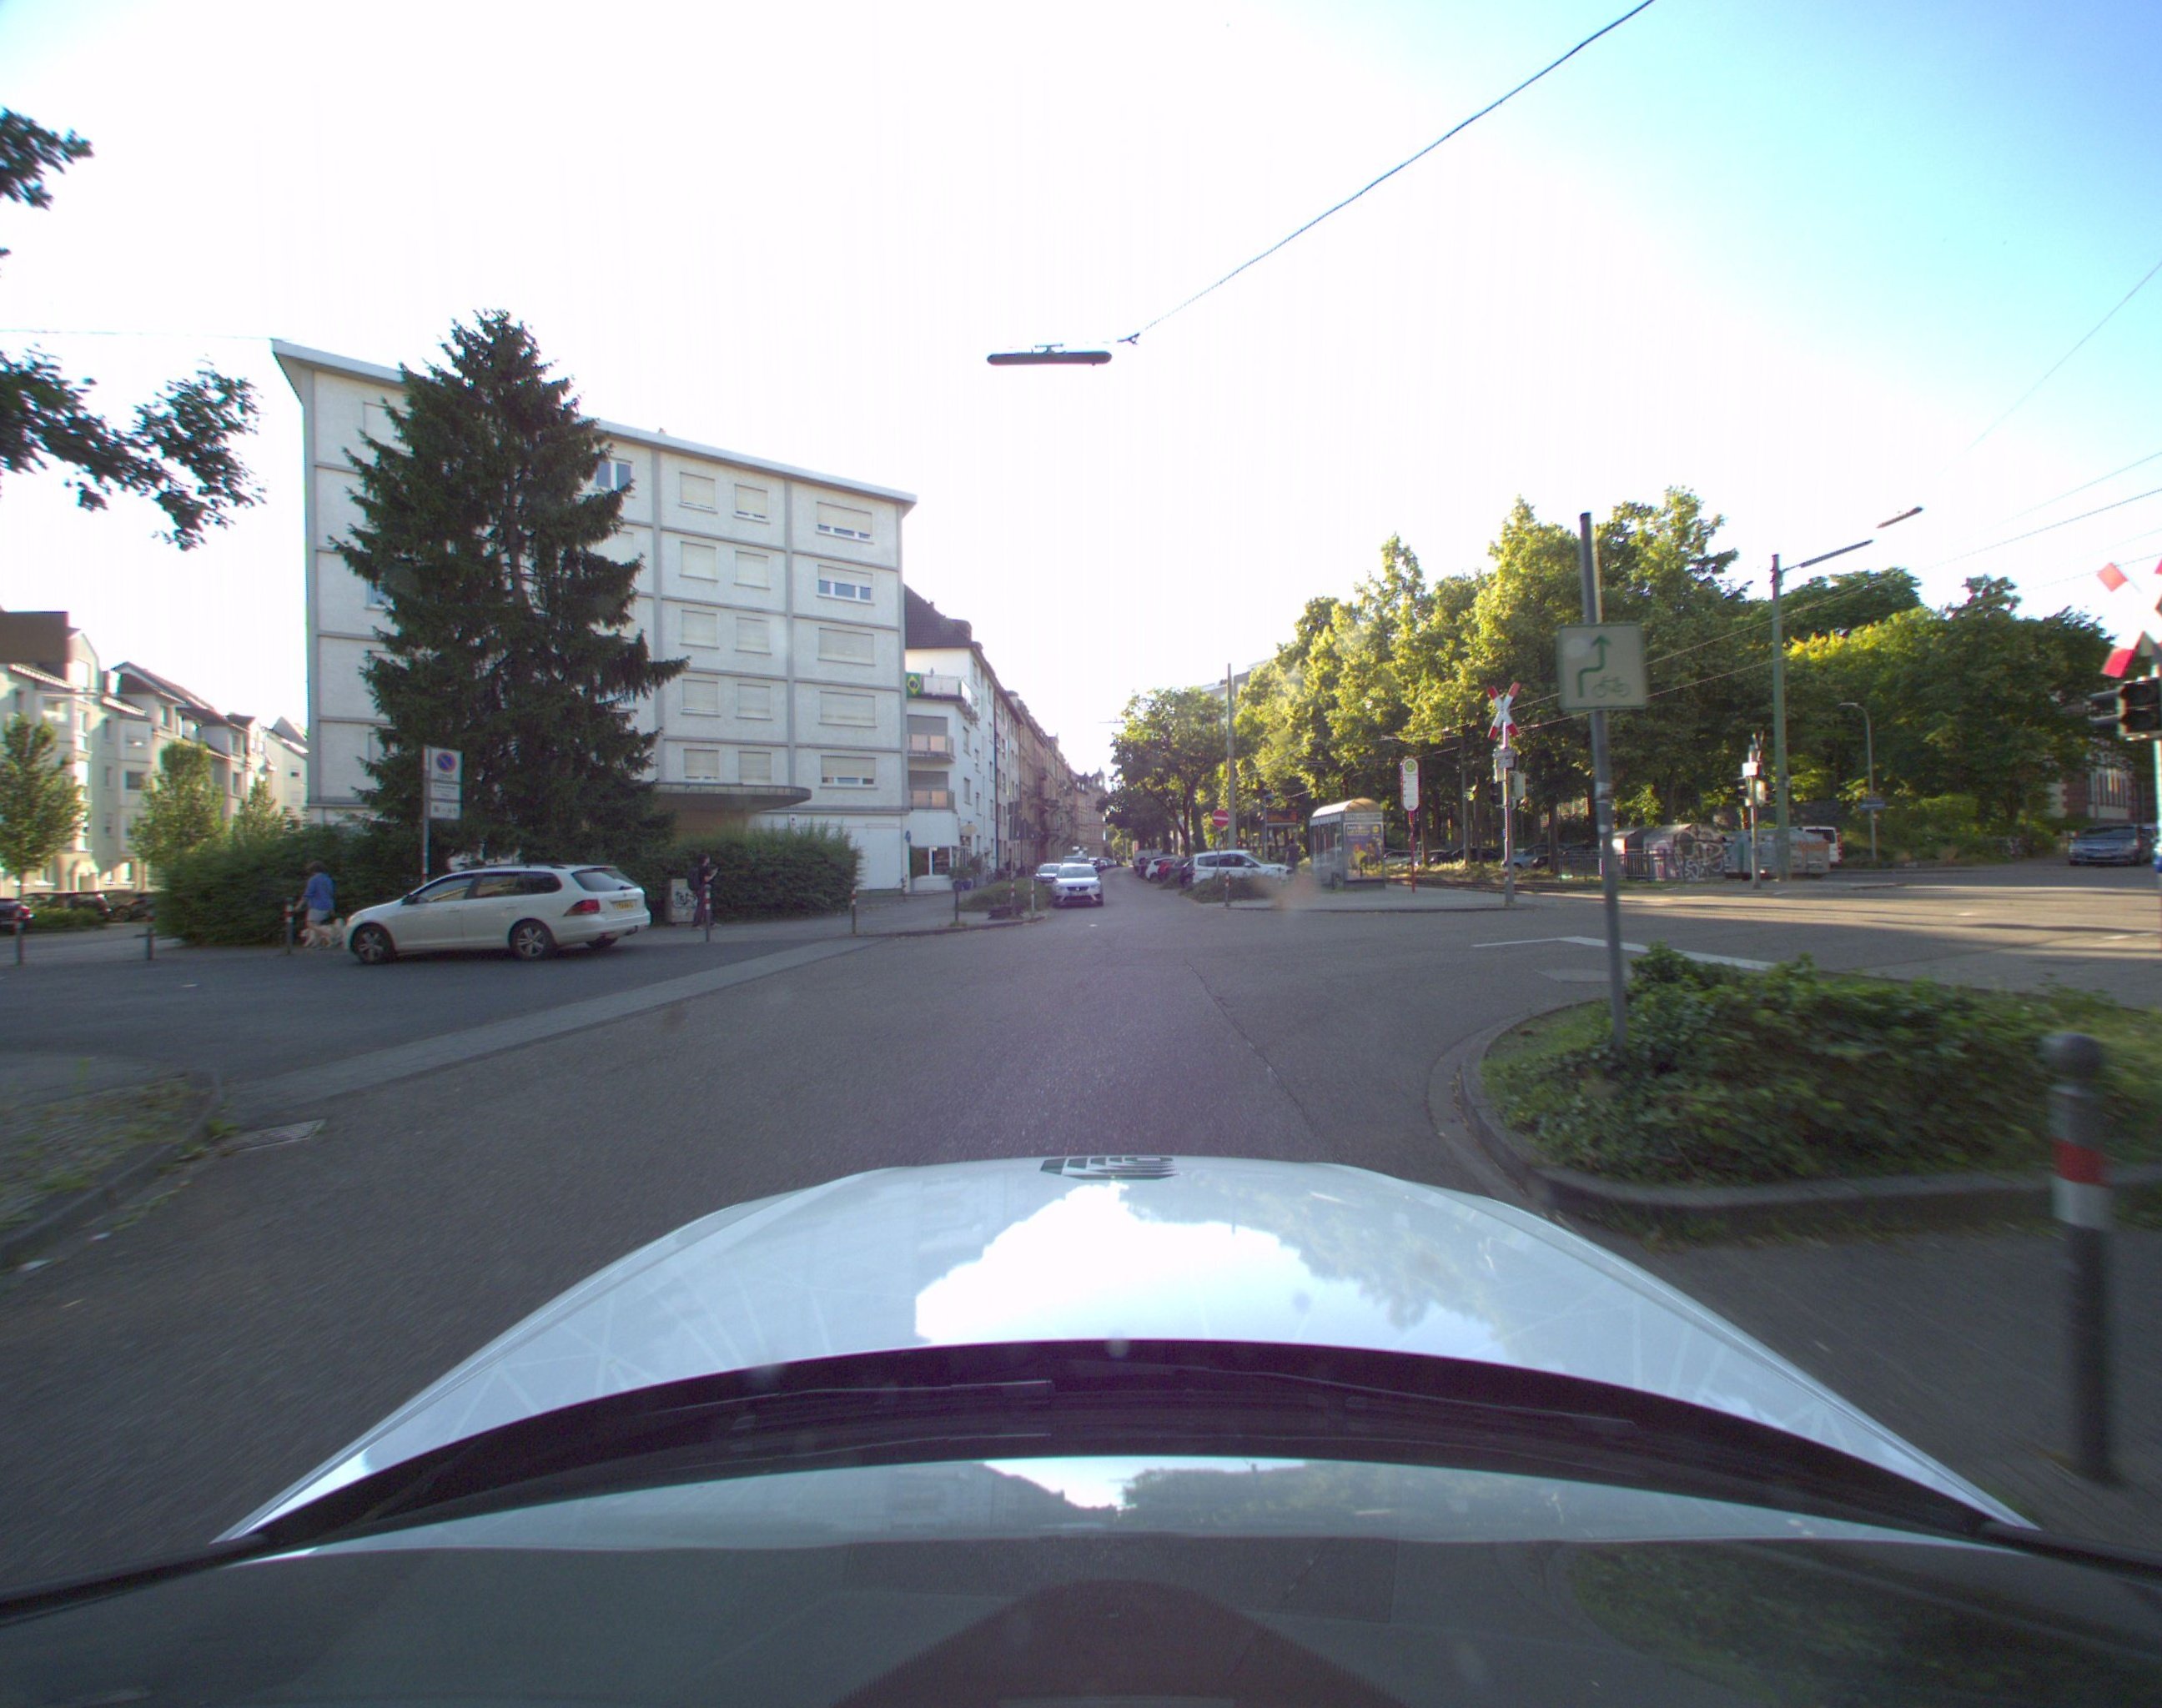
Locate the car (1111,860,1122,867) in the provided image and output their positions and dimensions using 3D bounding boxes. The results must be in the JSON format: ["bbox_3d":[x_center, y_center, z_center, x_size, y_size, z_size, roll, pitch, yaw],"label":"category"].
[{"bbox_3d":[7.674,2.016,174.031,1.700,1.446,4.012,-3,0,10],"label":"car"}]

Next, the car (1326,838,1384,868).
[{"bbox_3d":[23.537,-0.122,69.973,4.442,2.476,1.830,0,-1,33],"label":"car"}]

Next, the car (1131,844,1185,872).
[{"bbox_3d":[8.456,0.462,89.327,5.201,2.571,2.288,-6,-1,30],"label":"car"}]

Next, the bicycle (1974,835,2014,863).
[{"bbox_3d":[38.081,-0.224,33.952,2.635,1.101,0.593,-2,-1,-30],"label":"bicycle"}]

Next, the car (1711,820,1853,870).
[{"bbox_3d":[30.623,-0.354,35.793,1.942,2.003,4.649,-2,-1,-6],"label":"car"}]

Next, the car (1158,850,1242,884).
[{"bbox_3d":[6.584,0.726,45.051,4.188,1.458,1.617,-6,-1,26],"label":"car"}]

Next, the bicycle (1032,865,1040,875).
[{"bbox_3d":[-4.972,1.748,90.425,0.624,1.003,2.176,-2,0,1],"label":"bicycle"}]

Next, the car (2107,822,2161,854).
[{"bbox_3d":[51.519,-0.804,39.455,3.945,1.477,1.814,-2,3,-32],"label":"car"}]

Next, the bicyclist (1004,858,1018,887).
[{"bbox_3d":[-4.002,1.055,46.616,0.709,1.617,0.724,-2,-1,2],"label":"bicyclist"}]

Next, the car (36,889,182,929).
[{"bbox_3d":[-45.551,2.533,38.282,4.011,1.558,1.729,-2,-1,-29],"label":"car"}]

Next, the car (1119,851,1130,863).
[{"bbox_3d":[9.802,0.594,183.895,1.700,2.562,5.583,-3,0,10],"label":"car"}]

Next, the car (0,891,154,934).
[{"bbox_3d":[-42.860,2.462,34.742,4.011,1.558,1.729,-2,-1,-29],"label":"car"}]

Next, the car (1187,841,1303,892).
[{"bbox_3d":[6.630,0.510,33.079,4.186,1.652,1.618,-6,-1,33],"label":"car"}]

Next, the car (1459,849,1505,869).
[{"bbox_3d":[29.748,0.397,60.547,1.567,1.385,3.598,-2,-1,-2],"label":"car"}]

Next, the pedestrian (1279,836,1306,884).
[{"bbox_3d":[8.672,0.250,33.412,0.840,1.910,0.843,-2,-1,26],"label":"pedestrian"}]

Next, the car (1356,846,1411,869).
[{"bbox_3d":[22.605,0.259,60.830,3.784,1.587,1.747,1,-1,21],"label":"car"}]

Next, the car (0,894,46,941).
[{"bbox_3d":[-39.576,2.302,28.331,4.011,1.558,1.729,-2,-1,-29],"label":"car"}]

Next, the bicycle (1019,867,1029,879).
[{"bbox_3d":[-5.076,1.646,72.252,0.624,1.003,2.176,-2,0,1],"label":"bicycle"}]

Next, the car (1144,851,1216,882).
[{"bbox_3d":[6.464,0.824,53.370,4.186,1.651,1.870,-6,-1,38],"label":"car"}]

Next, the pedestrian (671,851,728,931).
[{"bbox_3d":[-8.436,0.802,18.045,0.825,1.736,0.871,-1,-1,1],"label":"pedestrian"}]

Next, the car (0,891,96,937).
[{"bbox_3d":[-40.090,2.289,30.288,4.011,1.558,1.729,-2,-1,-29],"label":"car"}]

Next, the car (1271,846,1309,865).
[{"bbox_3d":[25.712,0.203,100.232,4.039,2.210,1.830,0,-1,33],"label":"car"}]

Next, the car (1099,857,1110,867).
[{"bbox_3d":[4.494,1.512,153.811,1.702,1.820,4.007,-3,0,6],"label":"car"}]

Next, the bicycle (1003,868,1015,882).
[{"bbox_3d":[-5.445,1.583,61.838,0.624,1.003,2.176,-2,0,1],"label":"bicycle"}]

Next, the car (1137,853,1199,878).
[{"bbox_3d":[6.659,0.903,62.557,4.186,1.473,1.870,-6,-1,30],"label":"car"}]

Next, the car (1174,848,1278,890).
[{"bbox_3d":[6.517,0.669,36.553,4.153,1.436,1.711,-6,-1,27],"label":"car"}]

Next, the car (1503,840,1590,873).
[{"bbox_3d":[22.645,0.094,39.785,3.574,1.562,1.617,1,0,26],"label":"car"}]

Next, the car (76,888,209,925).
[{"bbox_3d":[-47.094,2.595,40.988,4.011,1.558,1.729,-2,-1,-29],"label":"car"}]

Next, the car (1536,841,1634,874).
[{"bbox_3d":[22.765,0.136,36.930,3.574,1.447,1.617,1,0,25],"label":"car"}]

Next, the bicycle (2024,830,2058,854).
[{"bbox_3d":[45.902,-0.565,38.917,2.636,1.101,0.593,-2,-1,-31],"label":"bicycle"}]

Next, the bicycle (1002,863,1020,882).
[{"bbox_3d":[-3.999,1.039,46.658,0.709,1.051,2.349,-2,0,3],"label":"bicycle"}]

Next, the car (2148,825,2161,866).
[{"bbox_3d":[40.593,-0.371,29.654,4.076,1.457,1.690,-2,0,-32],"label":"car"}]

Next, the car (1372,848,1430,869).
[{"bbox_3d":[22.773,0.329,57.977,3.784,1.421,1.747,1,-1,21],"label":"car"}]

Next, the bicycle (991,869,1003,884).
[{"bbox_3d":[-5.943,1.558,57.875,0.529,1.003,2.176,-2,0,2],"label":"bicycle"}]

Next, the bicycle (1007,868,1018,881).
[{"bbox_3d":[-5.525,1.611,65.379,0.624,1.003,2.176,-2,0,1],"label":"bicycle"}]

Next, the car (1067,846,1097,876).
[{"bbox_3d":[0.157,0.689,82.913,2.540,2.887,5.488,-3,0,5],"label":"car"}]

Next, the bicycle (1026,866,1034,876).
[{"bbox_3d":[-5.055,1.696,80.847,0.624,1.003,2.176,-2,0,1],"label":"bicycle"}]

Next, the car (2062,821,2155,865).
[{"bbox_3d":[41.298,-0.491,32.712,4.306,1.614,1.814,-2,3,-32],"label":"car"}]

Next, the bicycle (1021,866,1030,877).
[{"bbox_3d":[-5.289,1.671,77.642,0.624,1.003,2.176,-2,0,1],"label":"bicycle"}]

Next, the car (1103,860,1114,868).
[{"bbox_3d":[5.503,2.010,163.794,1.702,1.446,4.007,-3,0,7],"label":"car"}]

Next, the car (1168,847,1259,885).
[{"bbox_3d":[6.799,0.630,41.771,4.188,1.508,1.617,-6,-1,26],"label":"car"}]

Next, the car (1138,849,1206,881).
[{"bbox_3d":[6.291,0.782,56.407,4.186,1.749,1.870,-6,-1,38],"label":"car"}]

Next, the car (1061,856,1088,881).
[{"bbox_3d":[-0.510,1.188,67.488,1.702,1.932,4.005,-3,0,5],"label":"car"}]

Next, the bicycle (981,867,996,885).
[{"bbox_3d":[-5.801,1.374,51.277,0.529,1.003,2.177,-2,0,3],"label":"bicycle"}]

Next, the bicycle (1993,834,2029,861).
[{"bbox_3d":[40.406,-0.305,35.377,2.637,1.101,0.592,-1,-1,-33],"label":"bicycle"}]

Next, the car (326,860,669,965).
[{"bbox_3d":[-9.419,0.912,13.385,4.262,1.450,1.926,-2,0,4],"label":"car"}]

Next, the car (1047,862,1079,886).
[{"bbox_3d":[-1.209,1.347,56.574,1.702,1.446,4.005,-3,0,5],"label":"car"}]

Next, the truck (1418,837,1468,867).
[{"bbox_3d":[30.305,-0.142,68.404,2.357,2.352,4.386,-2,-1,2],"label":"truck"}]

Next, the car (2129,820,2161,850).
[{"bbox_3d":[57.341,-1.028,43.160,3.945,1.500,1.814,-2,3,-32],"label":"car"}]

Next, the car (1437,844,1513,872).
[{"bbox_3d":[22.290,0.248,46.222,3.784,1.497,1.747,1,-1,21],"label":"car"}]

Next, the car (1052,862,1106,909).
[{"bbox_3d":[-0.145,1.060,28.714,1.706,1.446,3.996,-3,0,-2],"label":"car"}]

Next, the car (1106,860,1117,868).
[{"bbox_3d":[6.398,2.077,169.166,1.701,1.446,4.010,-3,0,9],"label":"car"}]

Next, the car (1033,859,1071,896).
[{"bbox_3d":[-1.417,1.138,41.378,1.705,1.673,3.999,-3,0,0],"label":"car"}]

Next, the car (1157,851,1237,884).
[{"bbox_3d":[6.810,0.798,47.887,4.188,1.458,1.617,-6,-1,26],"label":"car"}]

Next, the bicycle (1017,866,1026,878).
[{"bbox_3d":[-5.483,1.662,75.248,0.624,1.003,2.176,-2,0,1],"label":"bicycle"}]

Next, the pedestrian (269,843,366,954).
[{"bbox_3d":[-14.498,0.825,15.495,0.979,2.014,0.863,-2,-1,1],"label":"pedestrian"}]

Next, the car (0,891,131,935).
[{"bbox_3d":[-41.934,2.375,33.050,4.011,1.558,1.729,-2,-1,-29],"label":"car"}]

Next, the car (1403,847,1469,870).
[{"bbox_3d":[22.557,0.301,51.917,3.784,1.391,1.747,1,-1,21],"label":"car"}]
